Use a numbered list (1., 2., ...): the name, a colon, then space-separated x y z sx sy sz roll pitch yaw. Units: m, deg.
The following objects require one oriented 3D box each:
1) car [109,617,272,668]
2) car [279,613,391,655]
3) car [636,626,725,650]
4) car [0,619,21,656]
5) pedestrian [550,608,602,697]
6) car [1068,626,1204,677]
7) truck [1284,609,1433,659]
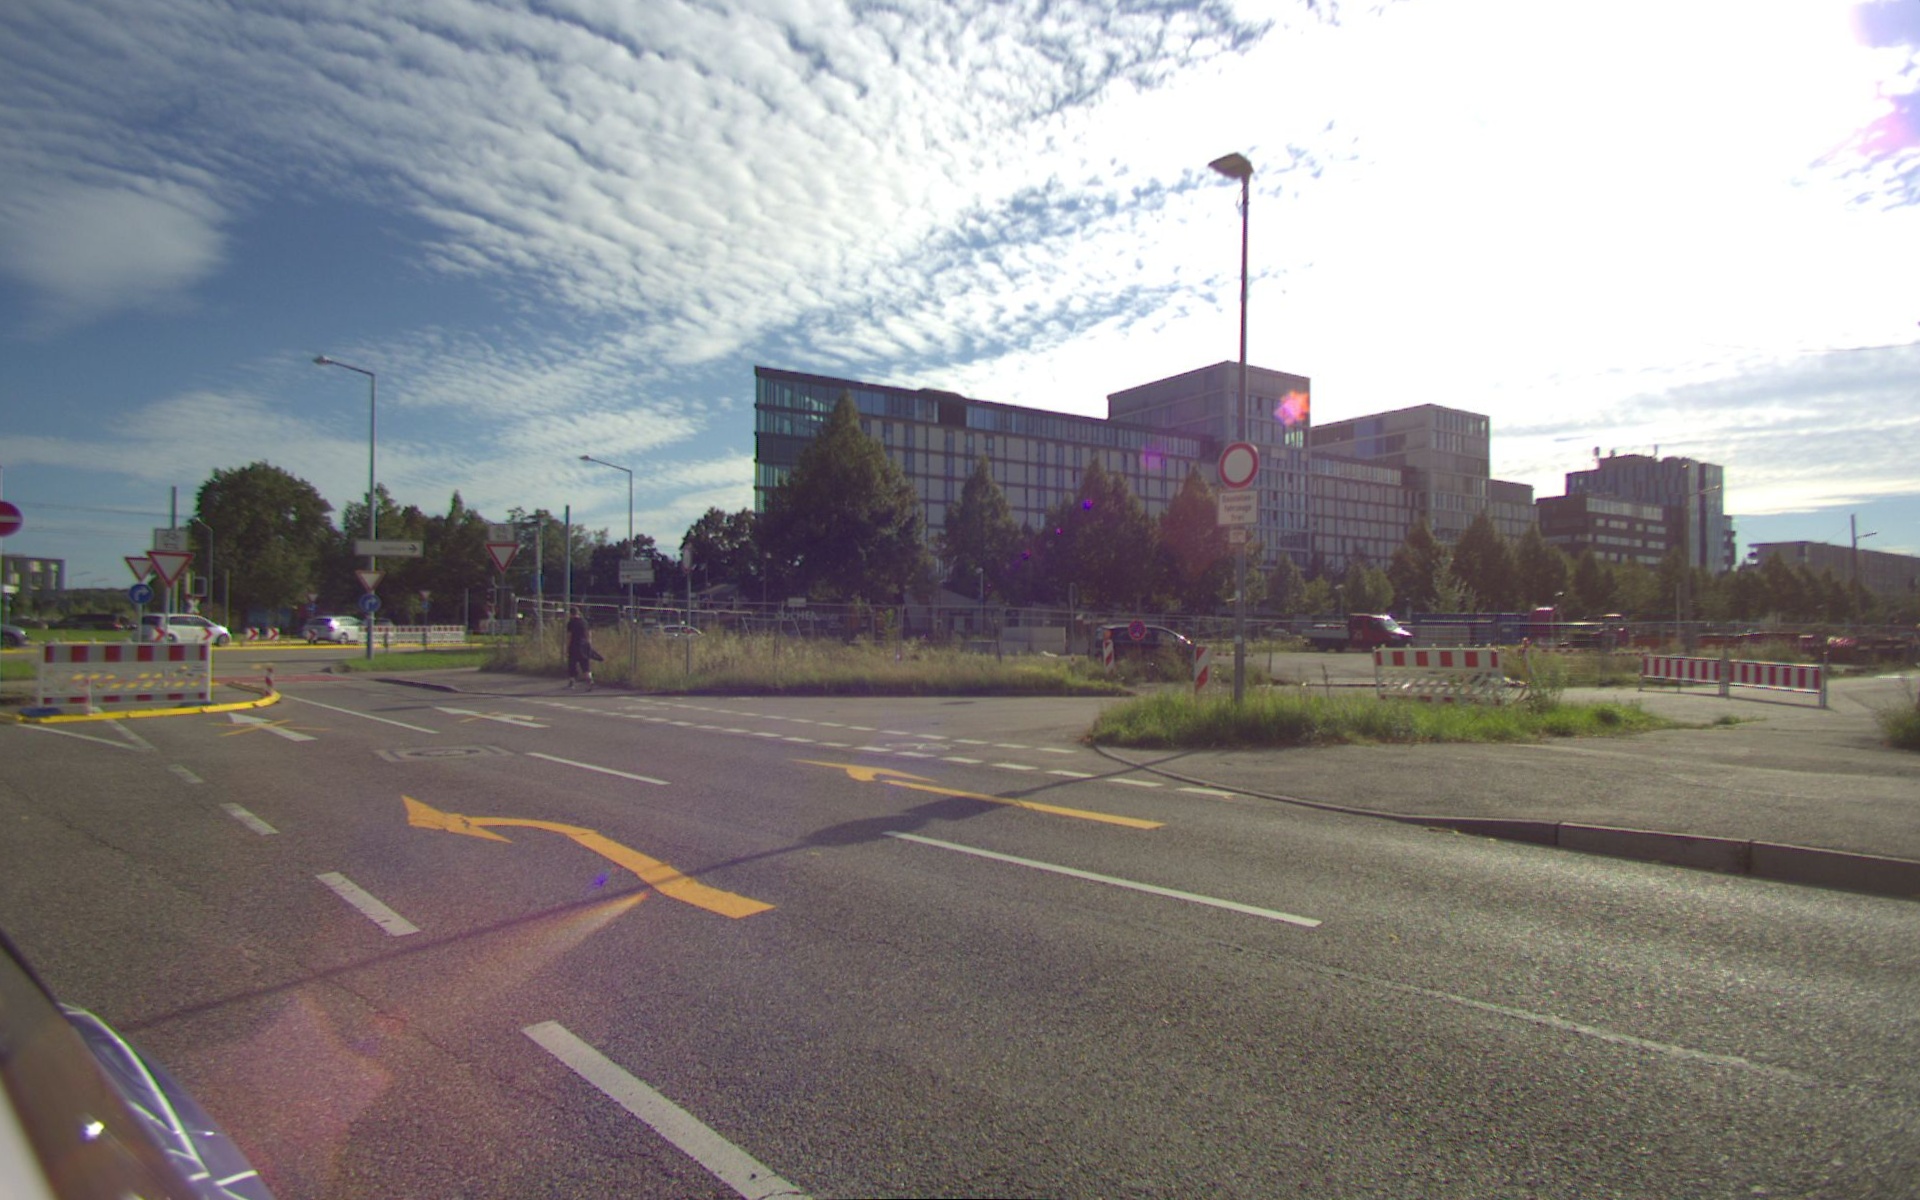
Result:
1. car: -34.135 1.828 45.124 2.454 2.074 5.478 0 -1 14
2. car: -33.085 1.754 53.849 2.442 2.074 5.807 0 -1 -1
3. car: -16.517 2.257 60.002 1.999 1.362 4.745 -1 -2 42
4. car: -36.929 1.322 36.055 1.995 1.362 4.755 -1 -2 34
5. pedestrian: -8.029 1.081 21.187 0.739 1.838 0.705 -1 -1 18
6. car: 6.005 1.739 34.906 4.354 1.670 1.999 0 -1 2
7. truck: 24.540 2.025 62.772 3.306 2.875 8.134 1 -1 -34
